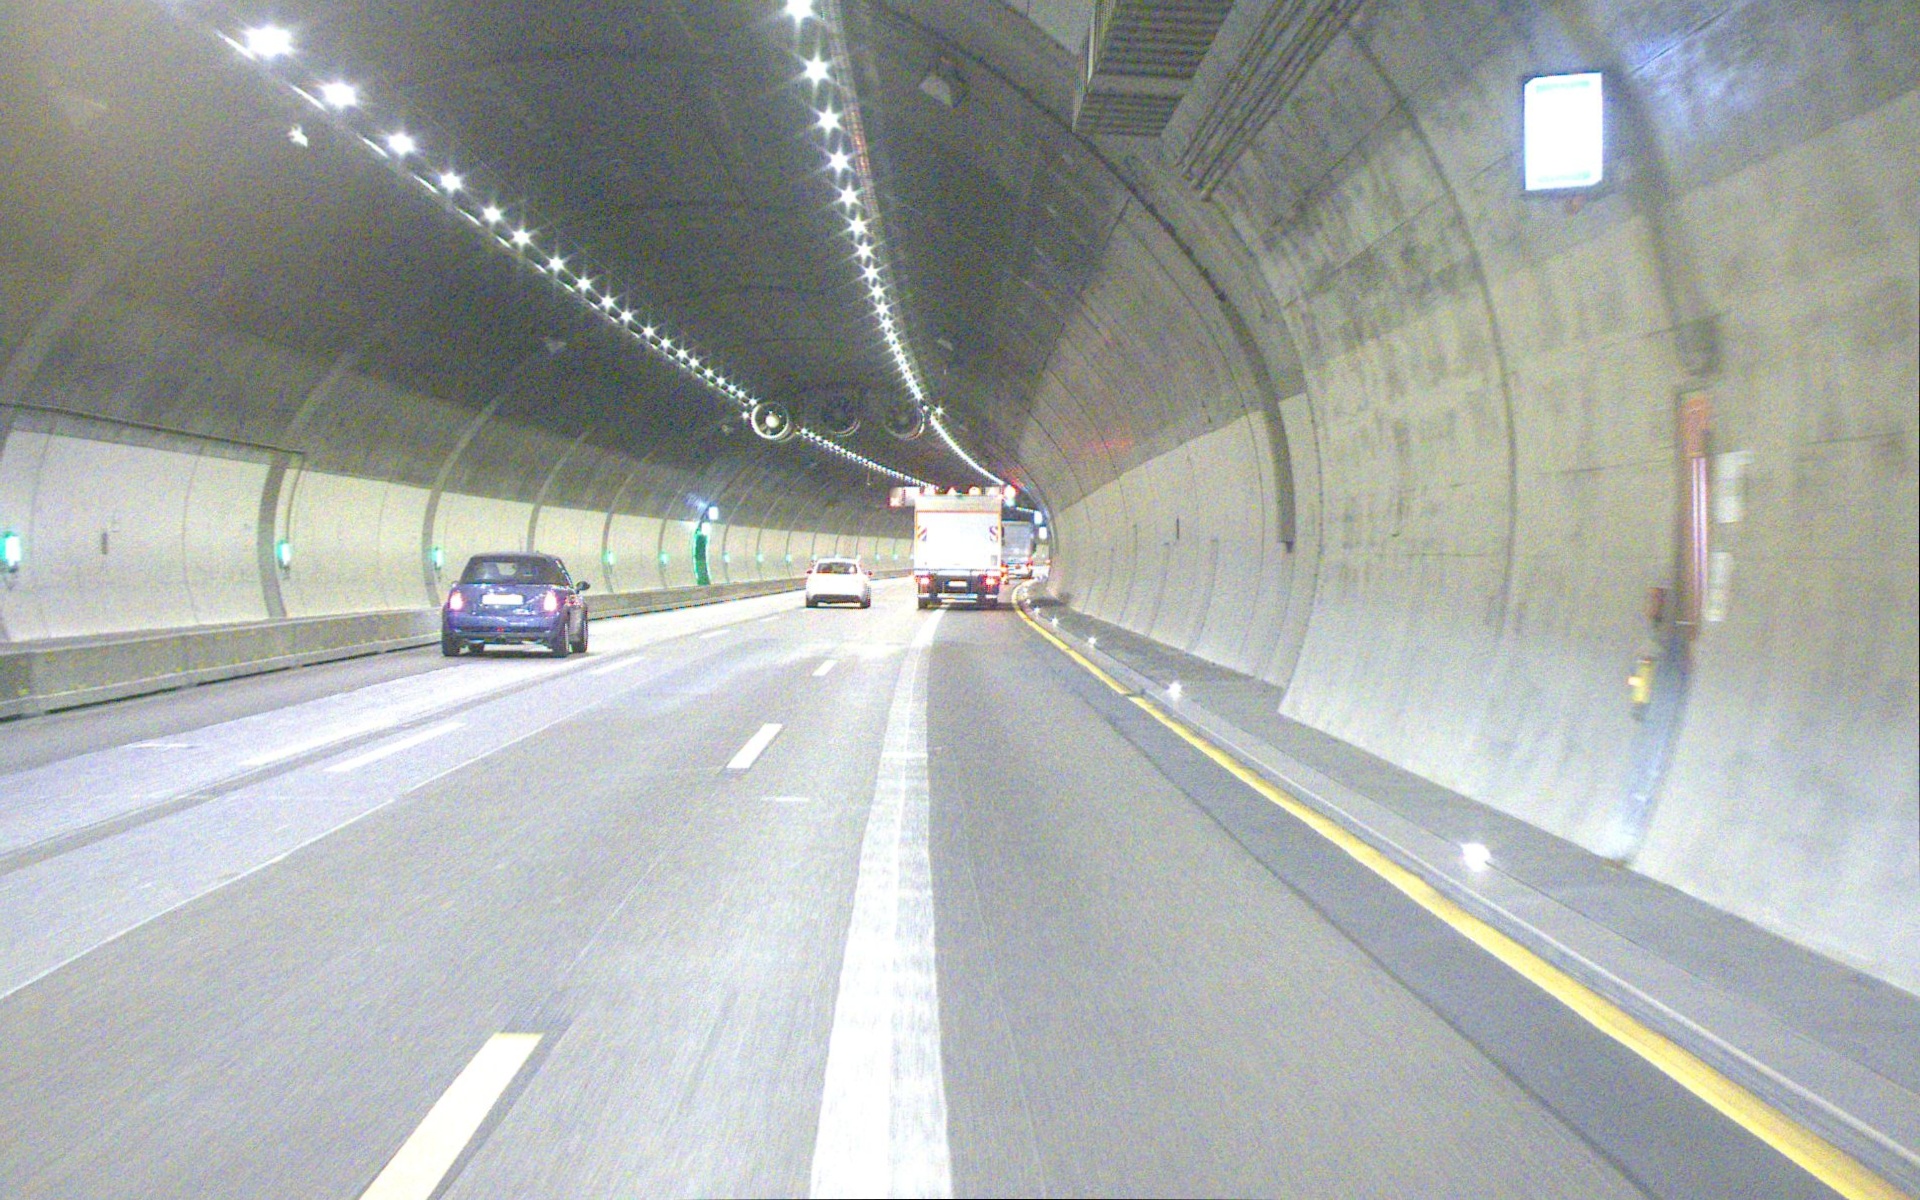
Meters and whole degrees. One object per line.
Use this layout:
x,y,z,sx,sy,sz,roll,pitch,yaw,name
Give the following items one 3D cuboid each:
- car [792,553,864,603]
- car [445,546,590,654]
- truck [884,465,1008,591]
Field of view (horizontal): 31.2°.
-3.894,-0.675,102.392,1.993,1.408,4.743,0,1,0,car
-6.062,-0.030,47.389,1.689,1.412,3.923,0,1,-3,car
-0.389,-2.179,105.154,3.592,3.638,10.722,0,1,0,truck
